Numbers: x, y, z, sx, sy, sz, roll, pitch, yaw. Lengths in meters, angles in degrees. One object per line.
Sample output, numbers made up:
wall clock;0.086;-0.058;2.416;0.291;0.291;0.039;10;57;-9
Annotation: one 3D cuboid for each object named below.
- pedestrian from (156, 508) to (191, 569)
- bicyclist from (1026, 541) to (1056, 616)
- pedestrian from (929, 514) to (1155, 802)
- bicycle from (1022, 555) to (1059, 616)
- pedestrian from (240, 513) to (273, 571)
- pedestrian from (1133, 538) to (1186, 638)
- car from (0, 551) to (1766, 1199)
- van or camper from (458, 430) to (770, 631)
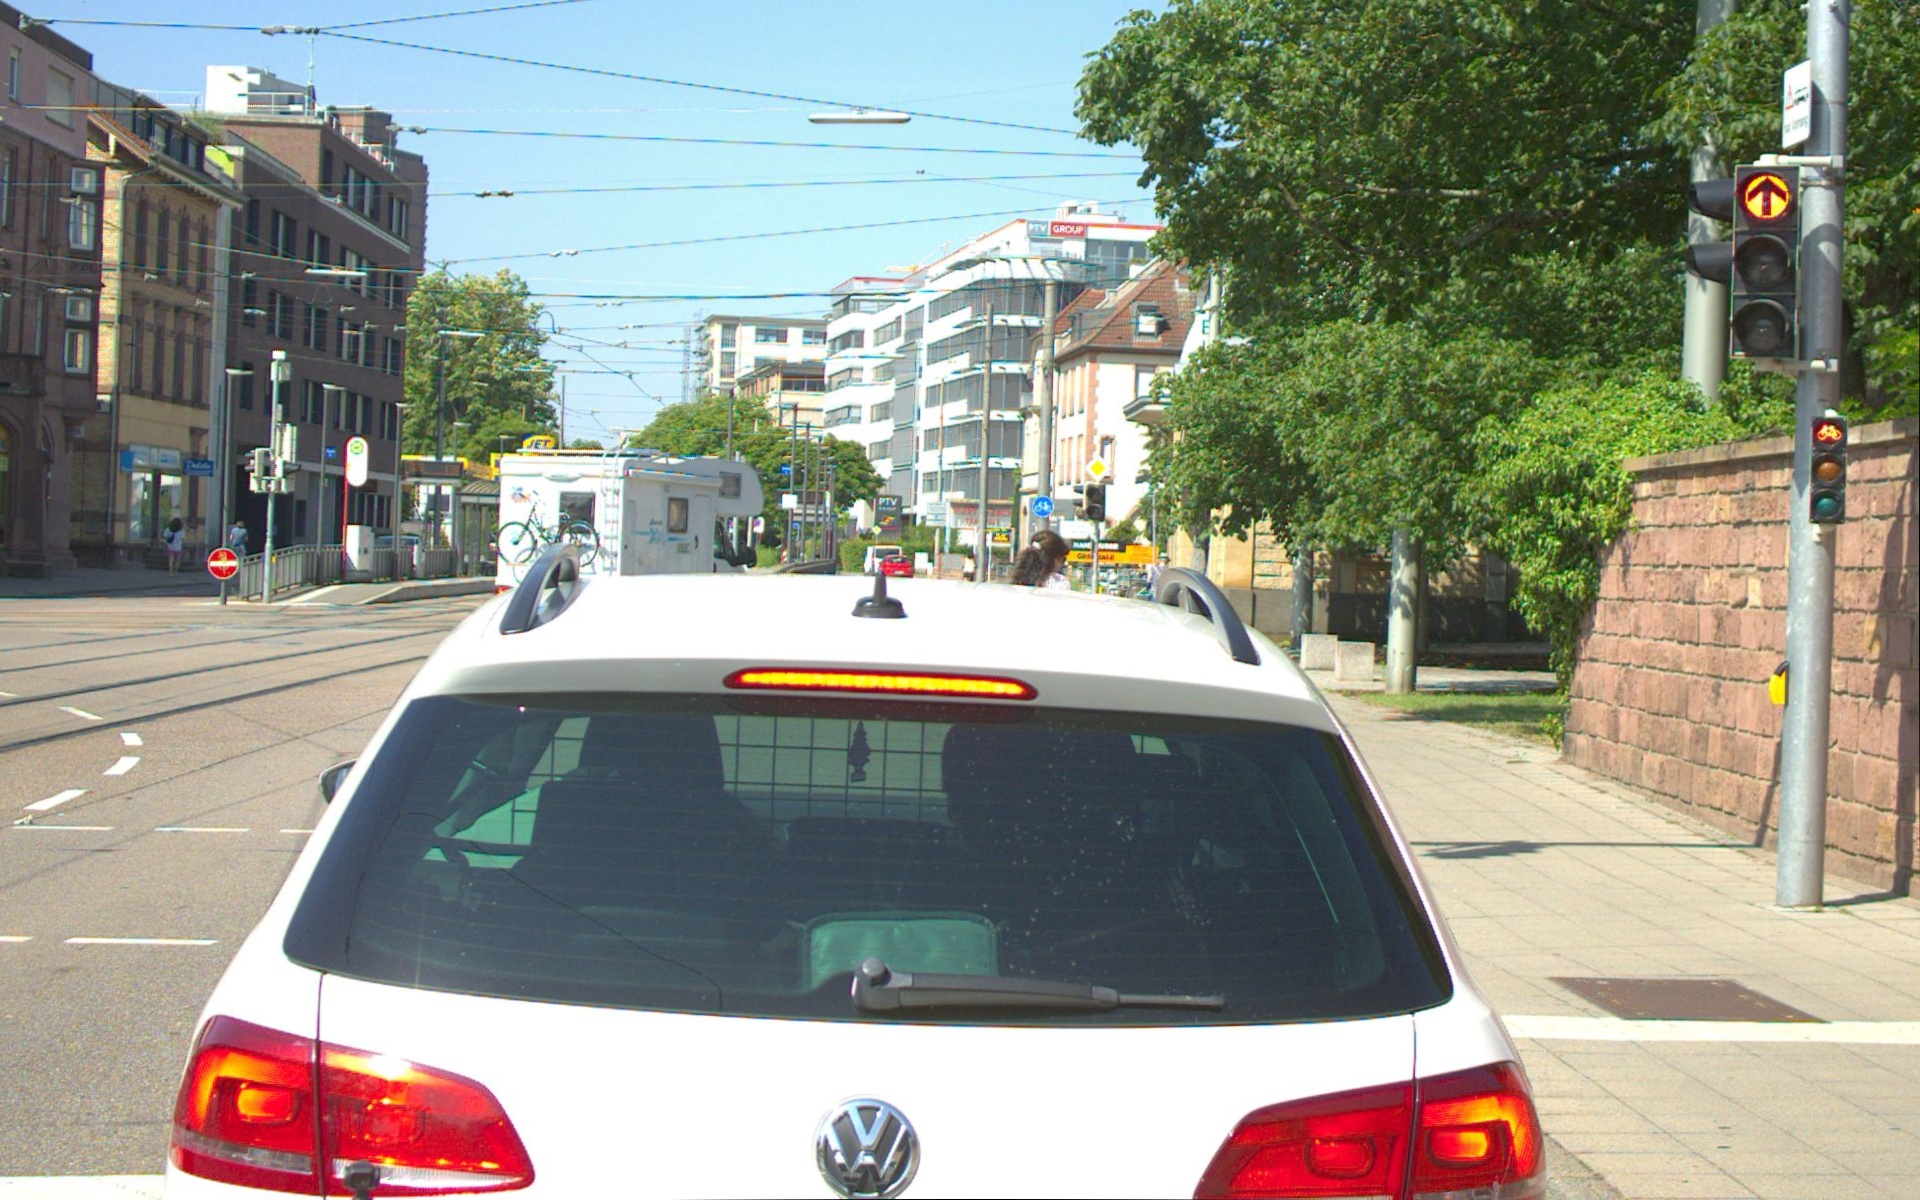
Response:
pedestrian;-22.654;-1.777;99.026;0.861;1.737;0.975;0;0;-6
bicyclist;1.754;-0.459;74.547;0.561;1.607;0.638;0;0;-5
pedestrian;0.489;0.329;20.333;0.954;1.645;0.973;0;0;34
bicycle;1.744;-0.305;74.586;0.558;1.293;2.250;0;0;-5
pedestrian;-21.532;-1.772;105.234;0.861;1.737;0.975;0;0;-6
pedestrian;3.507;-0.202;60.343;0.862;1.737;0.975;0;0;7
car;-0.141;0.675;5.459;1.808;1.443;4.000;1;1;-1
van or camper;-5.543;-1.072;56.011;2.570;3.082;5.695;0;0;24
